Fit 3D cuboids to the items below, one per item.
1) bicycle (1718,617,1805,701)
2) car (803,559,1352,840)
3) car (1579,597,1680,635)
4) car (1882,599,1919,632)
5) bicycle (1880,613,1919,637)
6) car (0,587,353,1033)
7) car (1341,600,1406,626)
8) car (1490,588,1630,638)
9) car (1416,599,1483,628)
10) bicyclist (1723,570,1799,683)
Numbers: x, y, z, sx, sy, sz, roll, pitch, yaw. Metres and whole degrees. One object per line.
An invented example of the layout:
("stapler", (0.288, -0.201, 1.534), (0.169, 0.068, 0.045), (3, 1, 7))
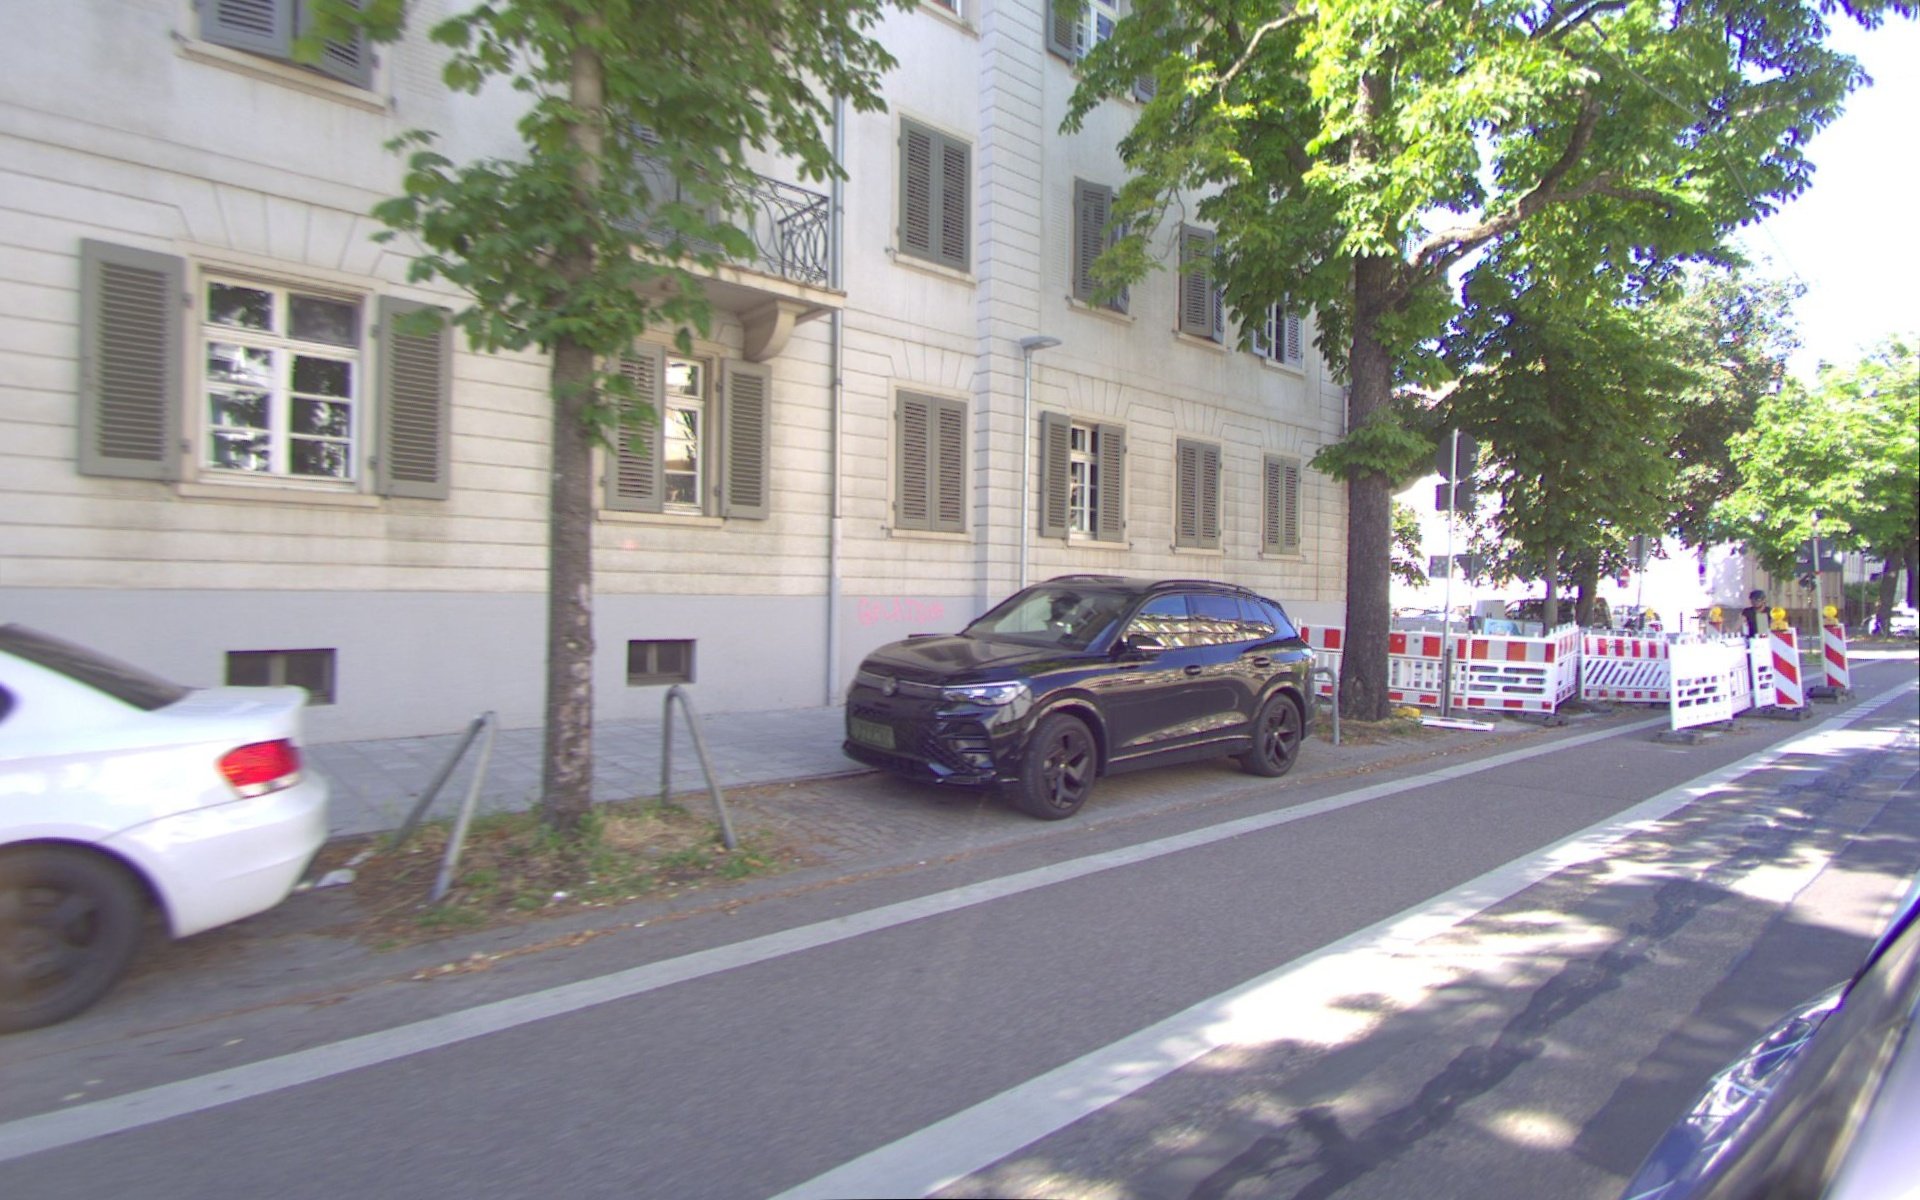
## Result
("bicycle", (13.111, 0.926, 16.532), (2.060, 1.258, 0.762), (0, -1, -42))
("car", (1.154, 0.566, 8.163), (4.503, 1.646, 1.814), (0, 2, -41))
("car", (29.769, 0.684, 45.105), (1.687, 1.557, 3.447), (-3, 1, -13))
("car", (44.215, 0.698, 46.928), (4.140, 1.490, 1.704), (0, 1, -41))
("bicycle", (40.588, 1.062, 43.471), (1.564, 0.992, 0.631), (2, 1, 41))
("car", (-4.524, 0.666, 3.178), (4.278, 1.399, 1.727), (0, 2, -40))
("car", (25.070, 0.765, 61.546), (1.605, 1.434, 3.970), (-1, 0, -13))
("car", (25.020, 0.520, 42.461), (1.958, 1.914, 5.077), (-2, 0, -15))
("car", (26.838, 0.717, 55.608), (1.408, 1.519, 3.509), (-1, 0, -13))
("bicyclist", (13.063, 0.420, 16.504), (1.028, 1.761, 0.762), (0, -2, -42))
